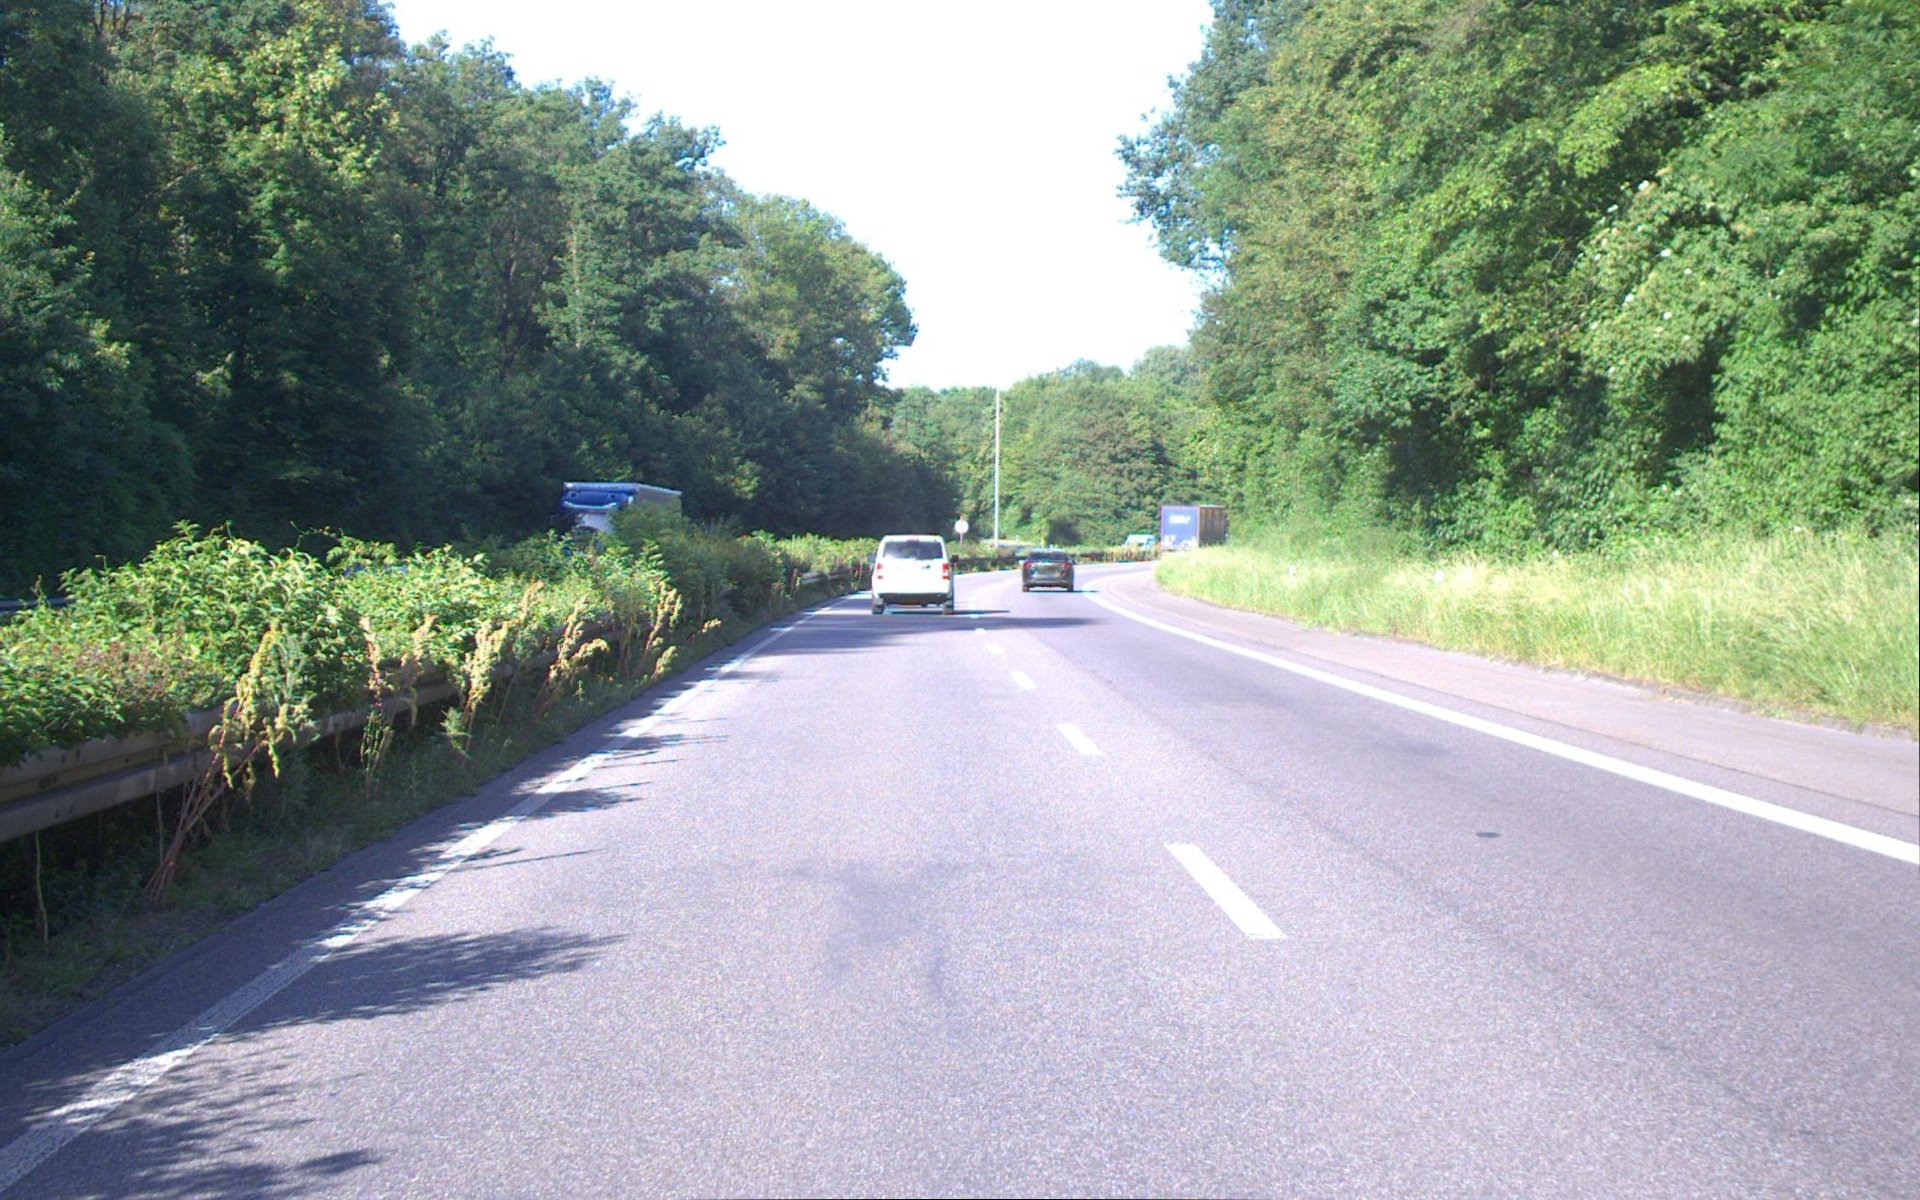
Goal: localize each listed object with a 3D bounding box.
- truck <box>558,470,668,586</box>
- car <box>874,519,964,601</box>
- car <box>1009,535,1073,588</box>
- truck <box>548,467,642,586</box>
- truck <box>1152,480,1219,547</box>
[{"bbox_3d":[-12.878,-2.628,128.665,2.707,4.082,14.022,1,1,0],"label":"truck"},{"bbox_3d":[-0.957,-0.913,78.250,1.951,1.776,4.588,1,1,-1],"label":"car"},{"bbox_3d":[2.784,-1.317,118.975,1.951,1.776,4.588,1,1,-1],"label":"car"},{"bbox_3d":[-12.859,-2.555,121.539,2.716,4.082,5.437,1,1,0],"label":"truck"},{"bbox_3d":[15.255,-5.778,231.706,3.735,4.328,9.301,1,1,8],"label":"truck"}]
